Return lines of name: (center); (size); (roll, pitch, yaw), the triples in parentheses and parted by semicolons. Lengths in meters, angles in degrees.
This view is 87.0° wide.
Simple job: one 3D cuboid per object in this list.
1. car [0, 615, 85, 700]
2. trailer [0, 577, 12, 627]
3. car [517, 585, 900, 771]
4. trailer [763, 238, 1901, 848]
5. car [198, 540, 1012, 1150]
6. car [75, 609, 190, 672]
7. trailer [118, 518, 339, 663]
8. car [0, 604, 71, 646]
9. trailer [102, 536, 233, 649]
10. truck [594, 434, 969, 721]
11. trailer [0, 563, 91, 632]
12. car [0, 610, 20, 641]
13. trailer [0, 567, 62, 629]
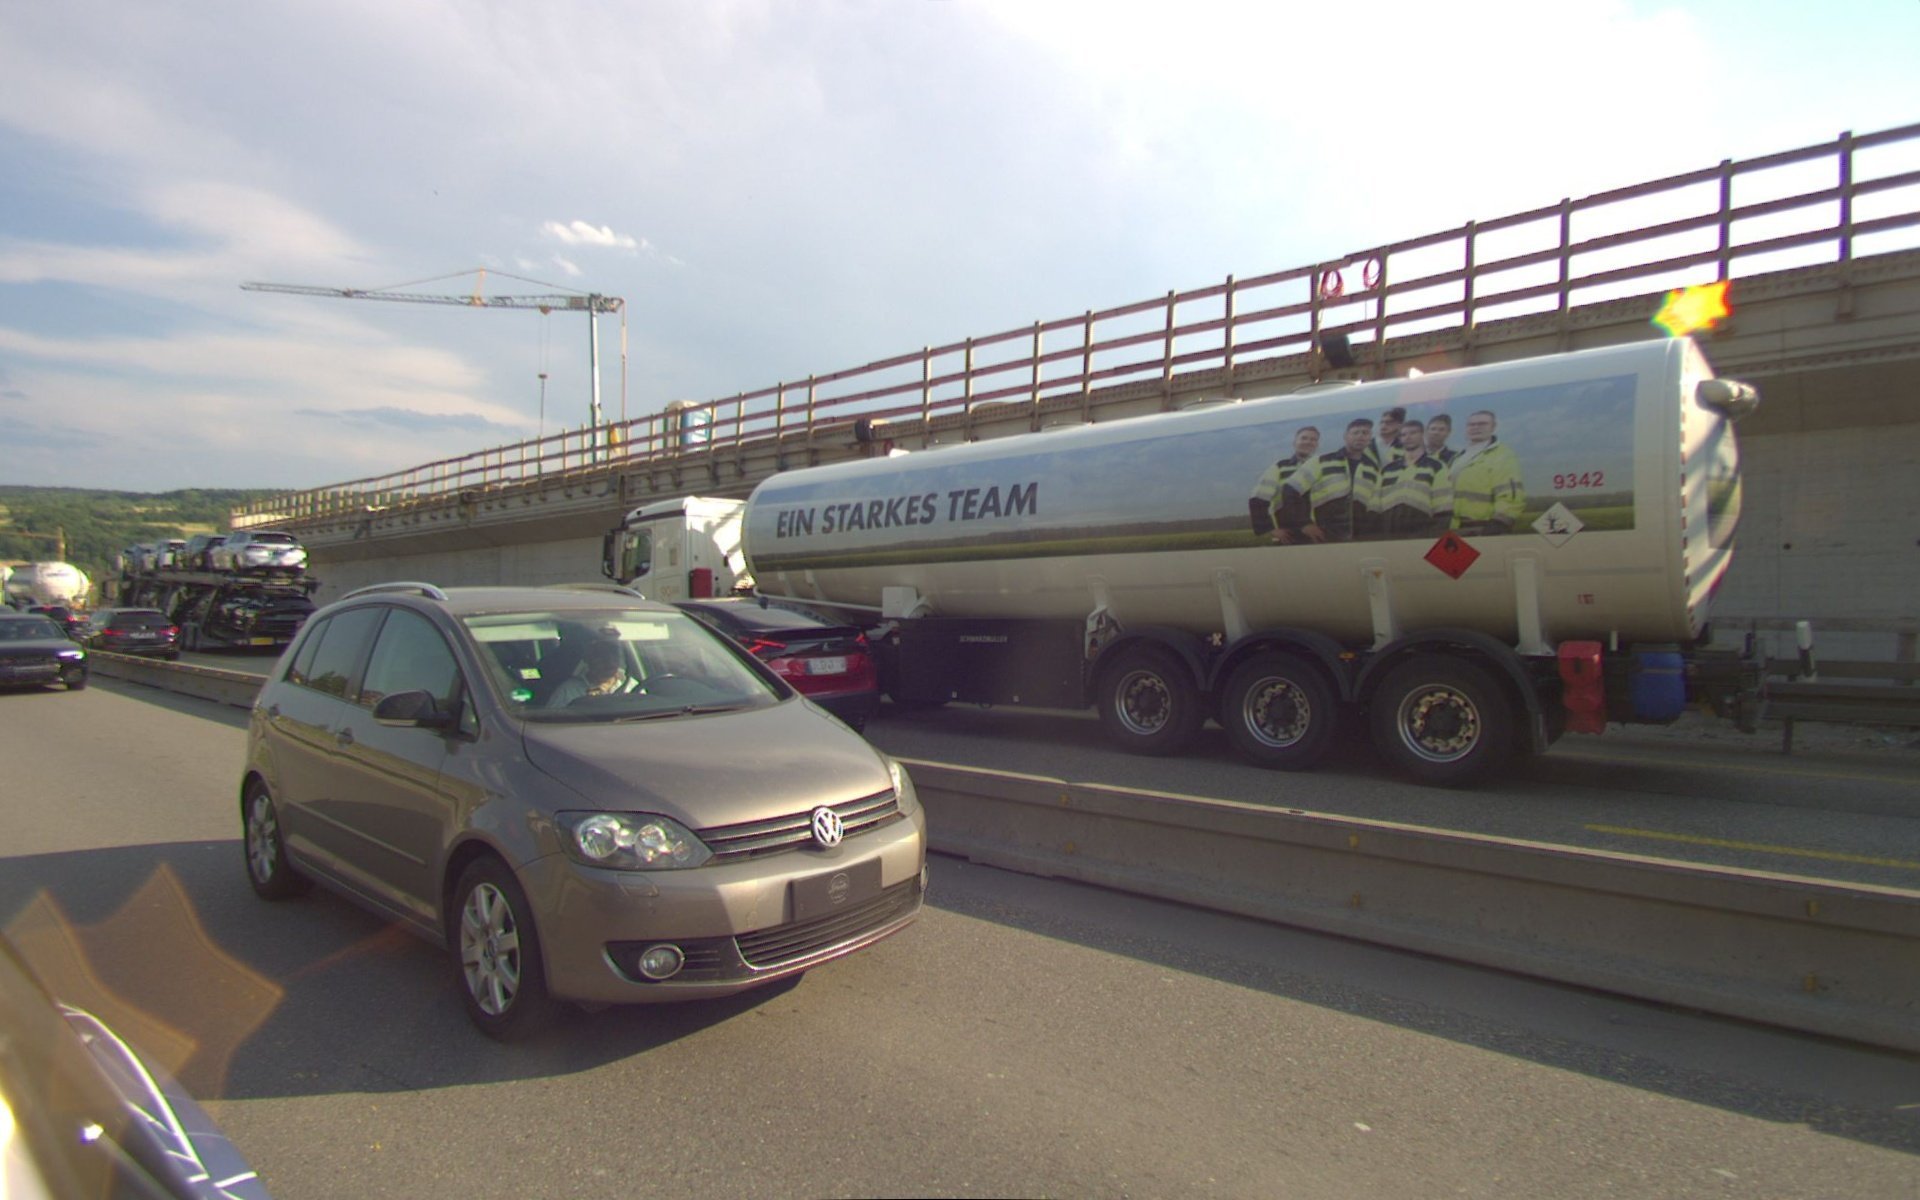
car: (-18.155, 1.024, 19.126); (4.346, 1.430, 1.849); (0, -1, 41)
trailer: (-83.629, 0.181, 86.052); (13.764, 4.067, 2.896); (0, 0, 40)
car: (-2.769, 0.687, 10.579); (4.294, 1.569, 1.708); (-1, 0, 41)
trailer: (2.305, -0.343, 10.396); (10.677, 3.553, 2.530); (0, 0, 41)
car: (-1.952, 0.633, 4.695); (4.269, 1.600, 1.663); (1, 0, 41)
car: (-23.010, 1.048, 28.078); (4.835, 1.563, 1.747); (0, 0, 42)
trailer: (-25.510, -0.276, 34.661); (15.757, 4.061, 2.742); (0, 0, 41)
car: (-37.602, 0.961, 41.081); (4.337, 1.589, 1.738); (0, 0, 41)
trailer: (-31.011, -0.278, 39.504); (7.205, 4.061, 2.742); (0, 0, 41)
truck: (-2.788, -0.274, 14.896); (5.528, 3.435, 2.522); (0, 0, 41)
trailer: (-56.441, -0.127, 62.205); (13.435, 3.879, 2.625); (0, 0, 41)
car: (-49.588, 1.291, 51.846); (4.598, 1.456, 1.691); (0, 0, 42)
trailer: (-61.169, -0.127, 66.315); (6.425, 3.879, 2.625); (0, 0, 41)
